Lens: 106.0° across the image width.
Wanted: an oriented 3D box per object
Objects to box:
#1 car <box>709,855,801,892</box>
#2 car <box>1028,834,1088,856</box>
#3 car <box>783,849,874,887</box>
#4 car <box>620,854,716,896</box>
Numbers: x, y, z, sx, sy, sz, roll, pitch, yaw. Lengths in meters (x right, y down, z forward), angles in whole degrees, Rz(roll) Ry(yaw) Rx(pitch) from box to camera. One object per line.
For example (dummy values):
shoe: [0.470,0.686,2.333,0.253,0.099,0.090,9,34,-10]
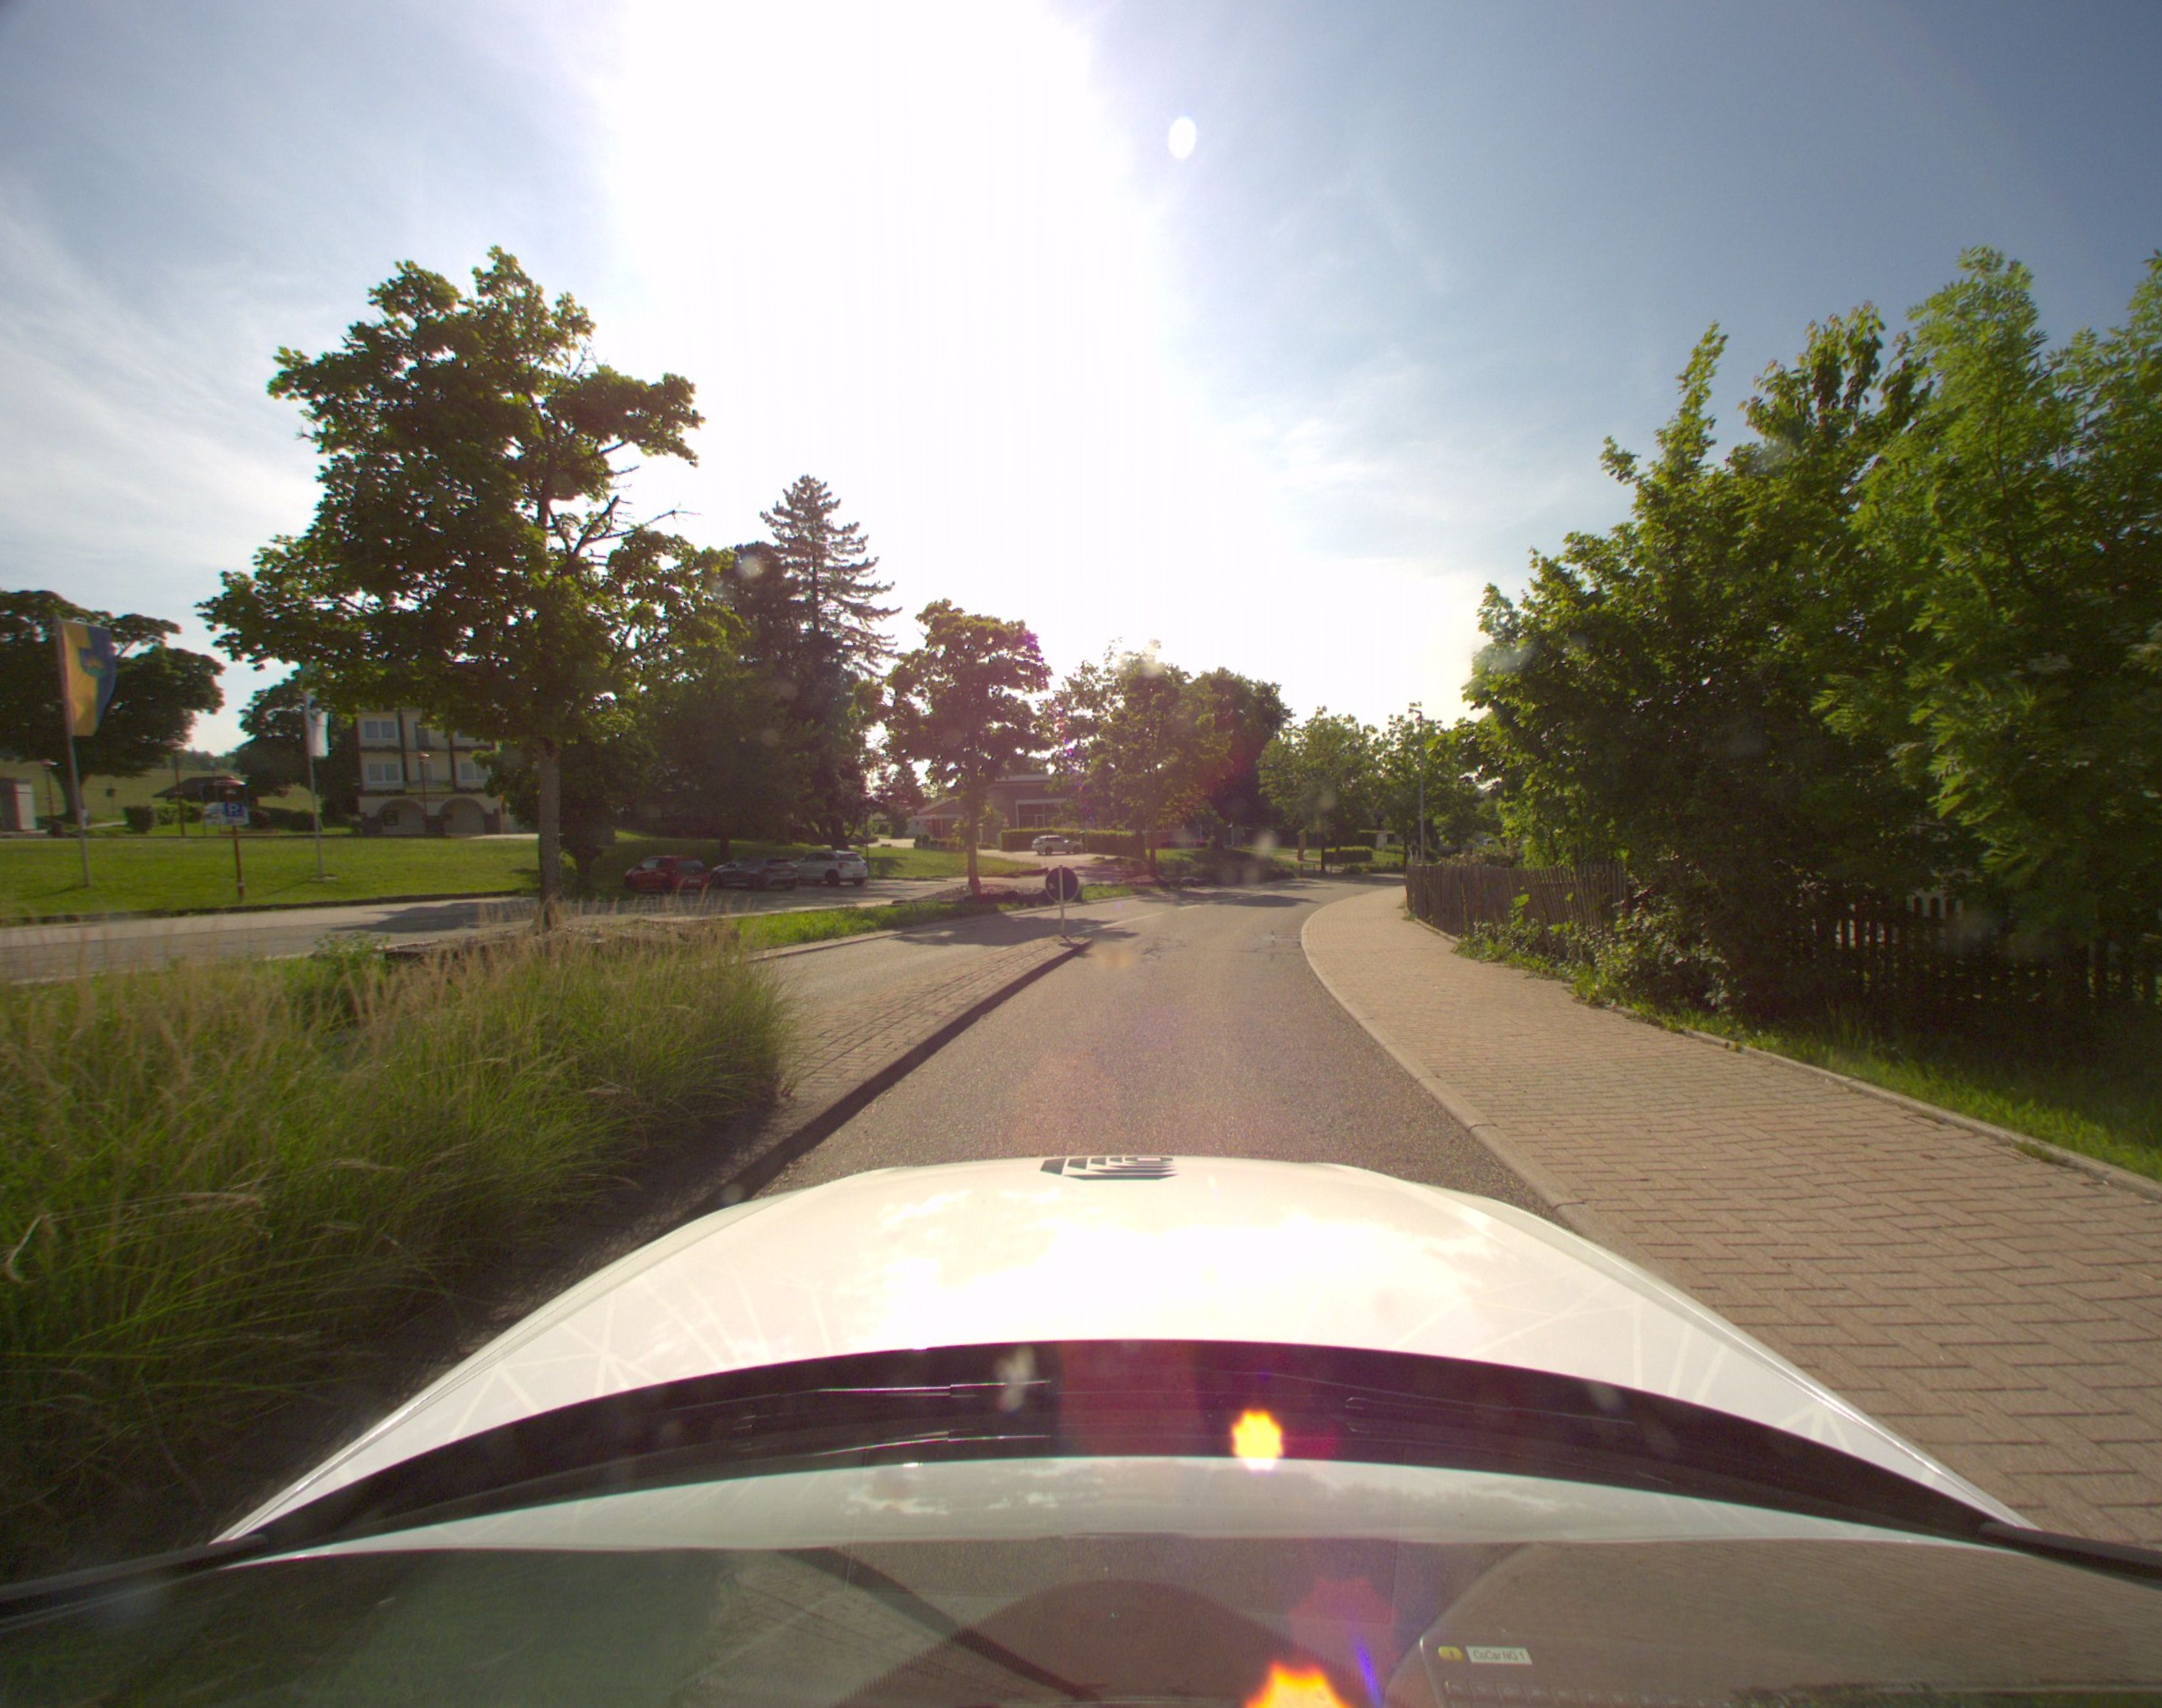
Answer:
car: [-13.622,0.772,33.999,3.666,1.433,1.787,1,1,34]
car: [-1.927,-0.812,69.270,4.742,1.533,1.983,-3,6,-28]
car: [-11.664,0.615,37.616,3.891,1.609,1.787,1,0,29]
car: [-15.902,0.778,31.343,3.168,1.470,1.787,1,0,28]
